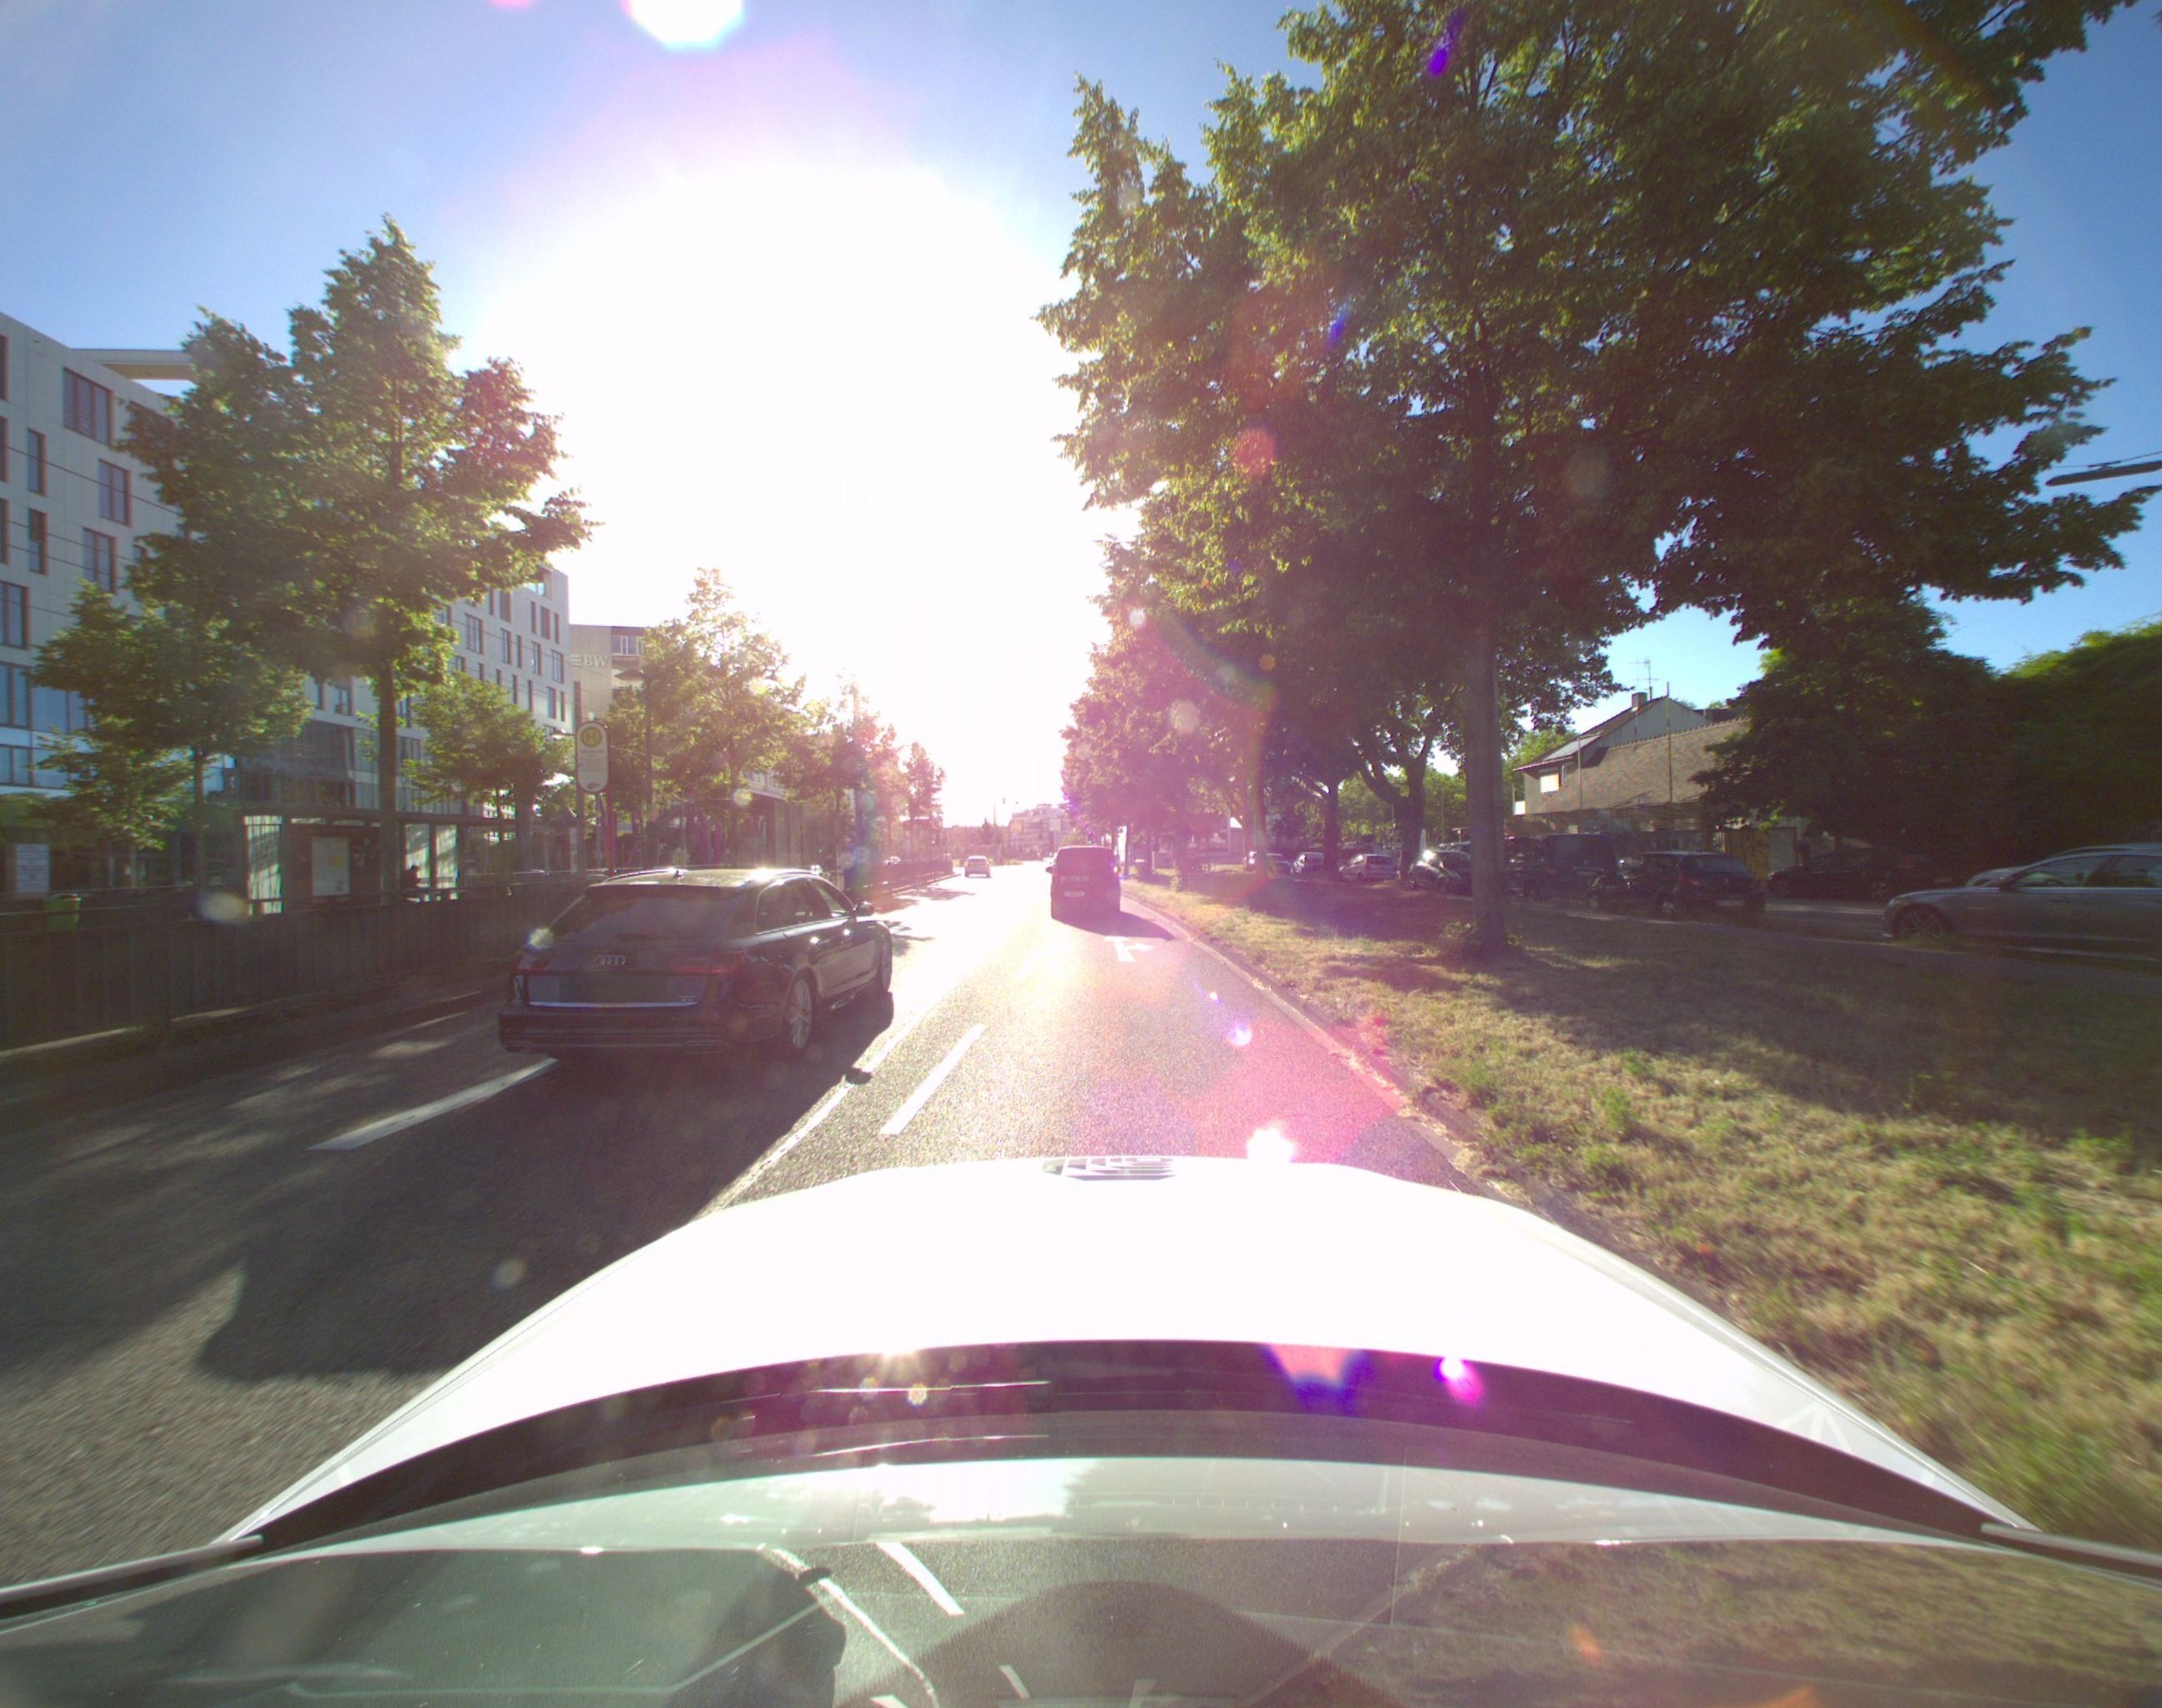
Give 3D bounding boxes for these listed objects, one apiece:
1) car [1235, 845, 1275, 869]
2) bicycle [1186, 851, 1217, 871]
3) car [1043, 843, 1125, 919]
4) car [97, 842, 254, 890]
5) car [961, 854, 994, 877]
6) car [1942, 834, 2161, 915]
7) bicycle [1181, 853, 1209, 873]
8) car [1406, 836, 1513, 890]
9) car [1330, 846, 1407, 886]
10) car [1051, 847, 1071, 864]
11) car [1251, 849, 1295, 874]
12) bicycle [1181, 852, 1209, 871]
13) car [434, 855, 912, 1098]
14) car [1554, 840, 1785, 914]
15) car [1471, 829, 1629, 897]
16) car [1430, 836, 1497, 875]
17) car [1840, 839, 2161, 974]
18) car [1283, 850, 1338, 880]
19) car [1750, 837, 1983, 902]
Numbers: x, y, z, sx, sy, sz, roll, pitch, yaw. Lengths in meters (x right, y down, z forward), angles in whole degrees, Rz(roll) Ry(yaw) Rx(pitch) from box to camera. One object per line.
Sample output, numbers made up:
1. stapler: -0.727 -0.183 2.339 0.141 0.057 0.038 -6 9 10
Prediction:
1. car: 12.981 0.239 60.969 1.868 1.684 3.993 0 -1 -5
2. bicycle: 7.835 0.466 52.825 1.913 1.268 0.479 -1 0 -2
3. car: -0.016 0.671 21.692 1.806 1.838 3.992 0 -1 -6
4. car: -40.609 0.535 36.727 1.988 2.014 4.560 0 -1 -2
5. car: -7.244 0.798 57.418 1.989 1.618 3.996 0 -1 -3
6. car: 21.471 0.383 17.035 1.866 1.483 4.687 -3 0 -1
7. bicycle: 7.511 0.588 53.732 1.774 1.268 0.479 0 -1 -2
8. car: 12.764 0.298 27.725 1.864 1.684 4.001 0 -1 1
9. car: 13.186 0.537 37.578 1.867 1.684 3.994 -2 0 -4
10. car: -2.435 0.148 99.429 2.263 2.013 4.707 -1 0 -1
11. car: 13.278 0.538 56.467 1.867 1.684 3.994 0 -1 -4
12. bicycle: 7.701 0.496 54.928 1.774 1.268 0.479 -1 0 -2
13. car: -3.056 0.761 7.603 1.947 1.480 5.083 0 0 -1
14. car: 12.080 0.437 17.092 1.867 1.367 3.996 0 -1 -3
15. car: 12.532 0.243 22.106 1.867 1.684 3.996 0 -1 -3
16. car: 21.564 0.123 46.140 1.985 2.014 4.003 -3 -1 3
17. car: 12.369 0.572 9.762 1.867 1.434 4.896 0 -1 -3
18. car: 13.269 0.624 47.334 1.867 1.684 3.994 0 -1 -4
19. car: 21.521 0.404 22.654 1.866 1.546 4.687 -3 0 -1
